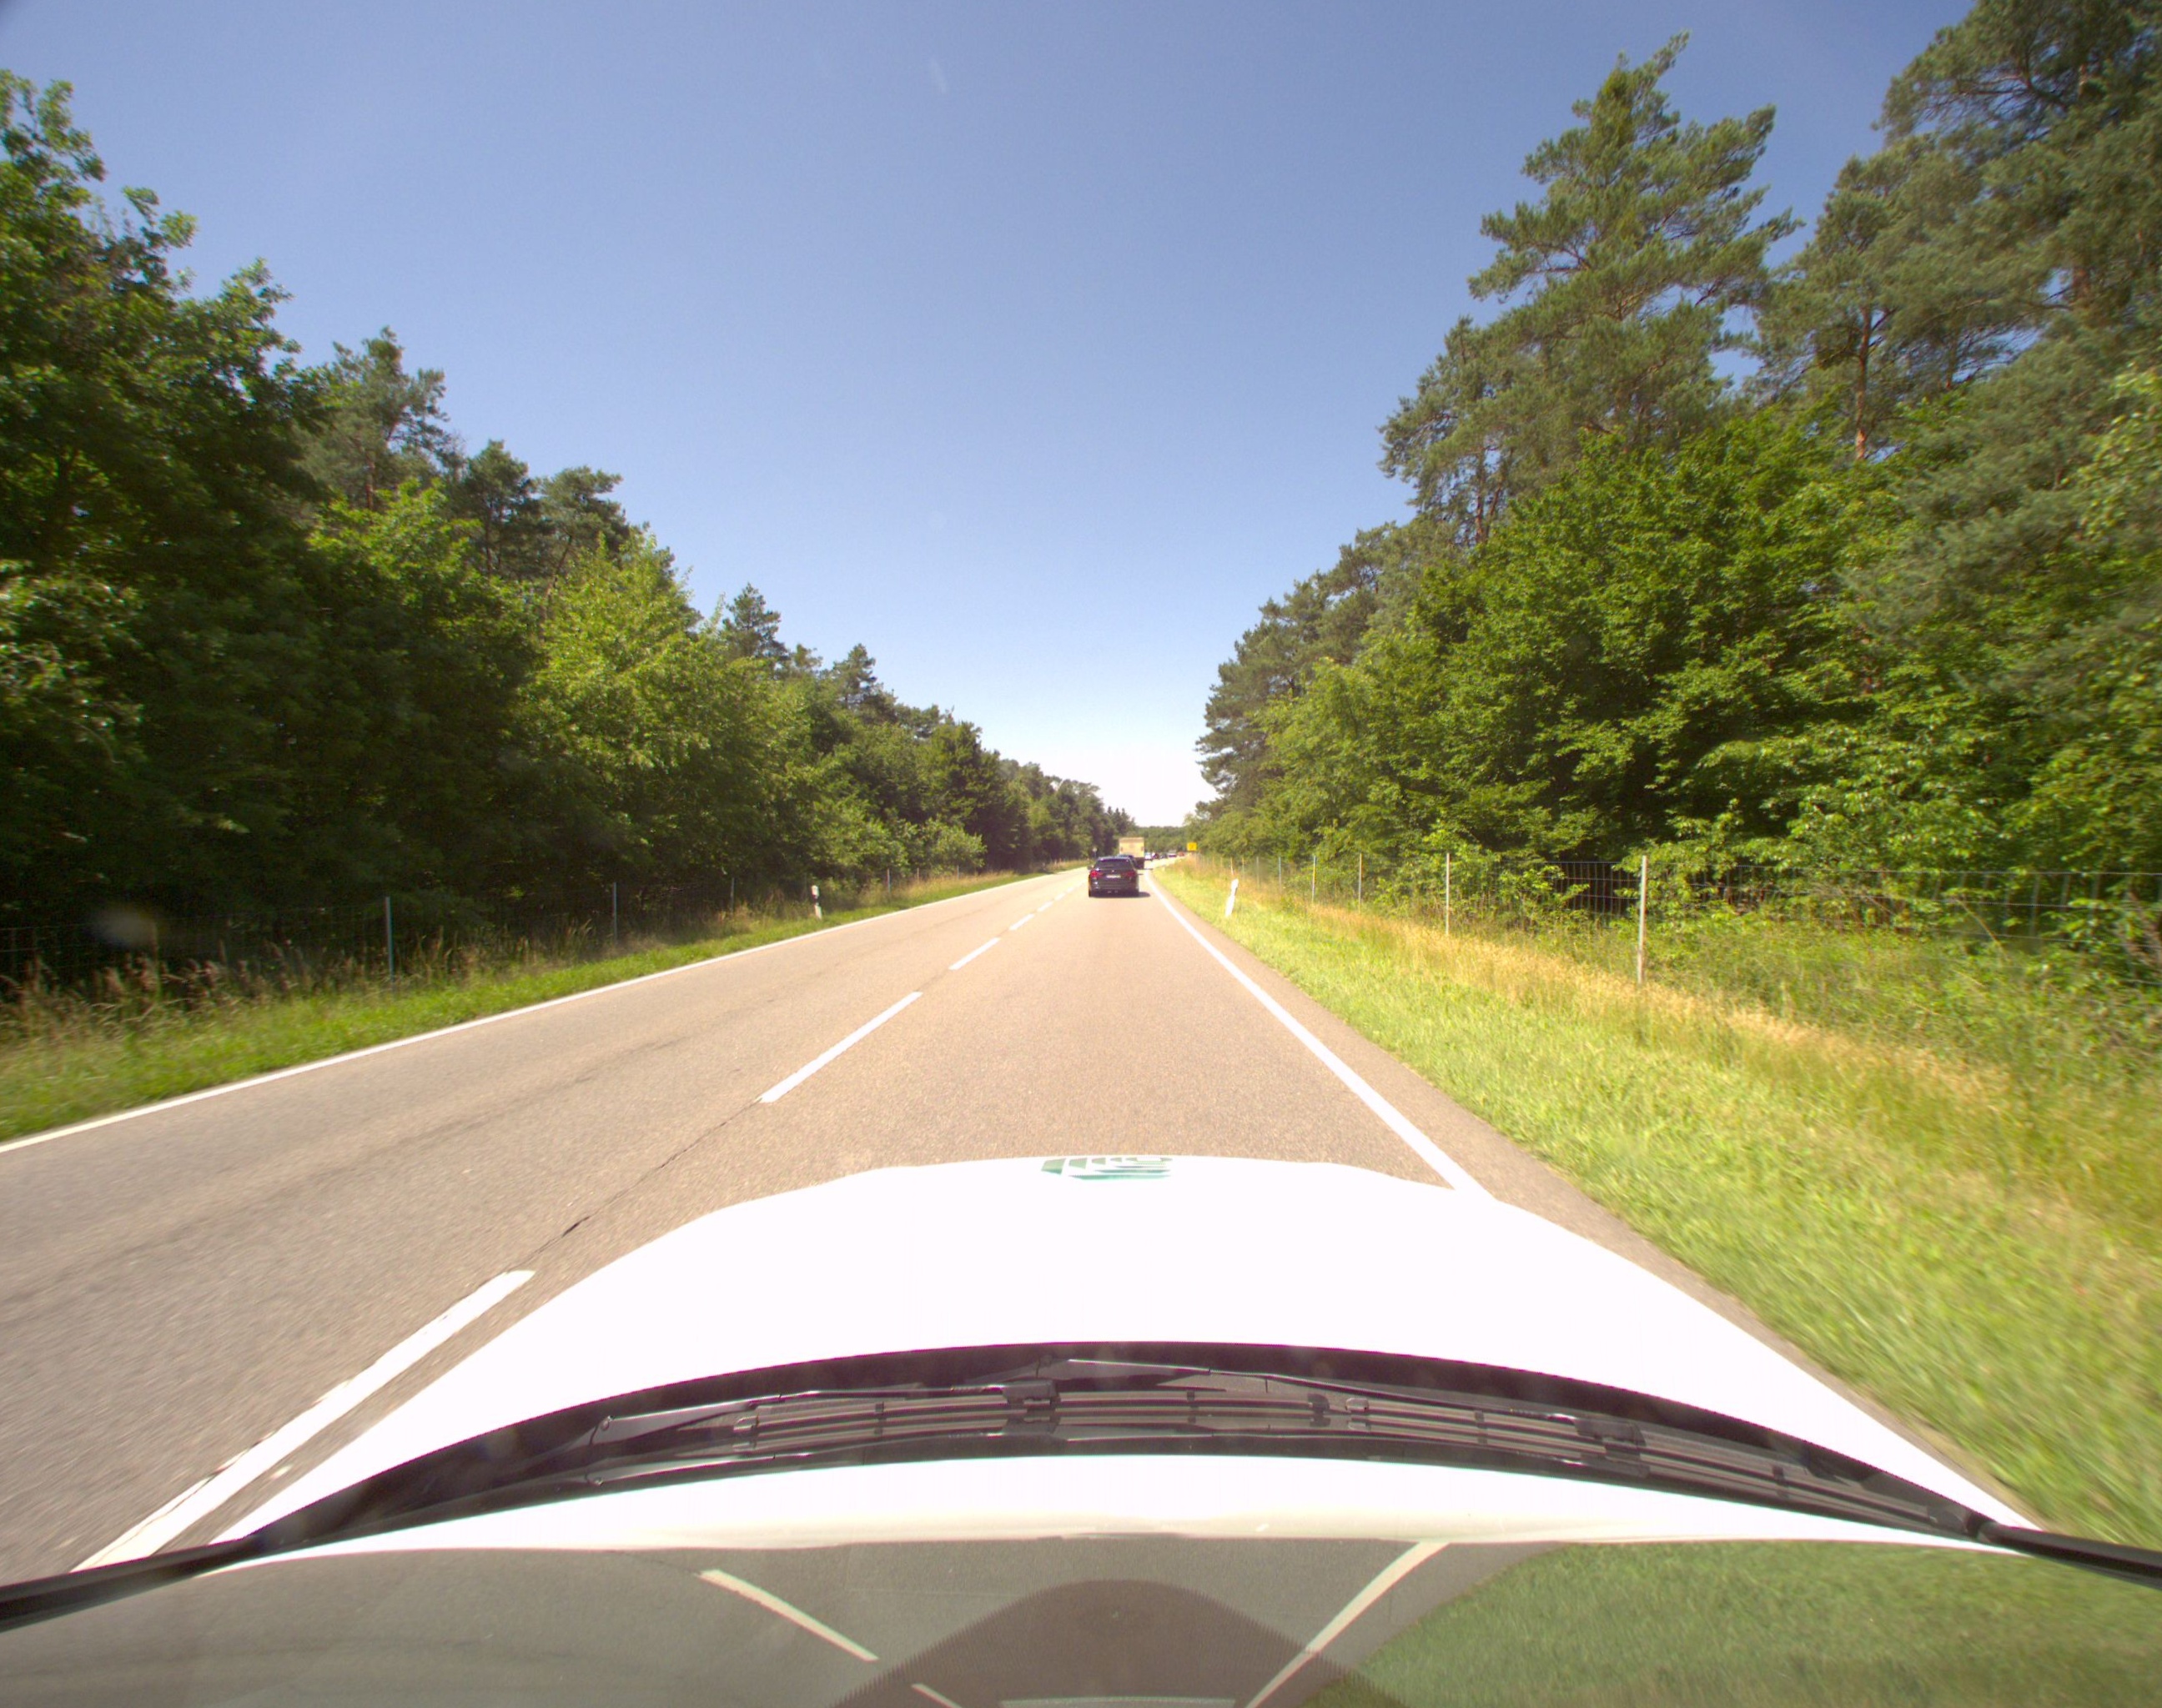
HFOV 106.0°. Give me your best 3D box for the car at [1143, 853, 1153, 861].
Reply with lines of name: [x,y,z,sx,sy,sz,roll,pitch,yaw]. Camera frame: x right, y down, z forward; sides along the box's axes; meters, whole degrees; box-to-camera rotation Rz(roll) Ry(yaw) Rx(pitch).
car: [13.287,0.637,161.830,1.855,1.605,4.003,-1,0,3]

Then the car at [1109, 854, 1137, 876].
car: [3.201,0.797,62.553,1.940,1.542,4.001,-3,0,2]

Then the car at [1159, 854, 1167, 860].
car: [21.761,0.762,217.201,1.984,1.636,4.006,-3,0,5]

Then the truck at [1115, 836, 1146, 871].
truck: [5.213,-0.095,84.892,2.952,3.387,6.446,-2,0,4]

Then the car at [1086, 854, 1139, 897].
car: [1.168,0.750,30.651,1.814,1.470,4.001,-2,0,1]

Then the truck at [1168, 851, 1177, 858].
truck: [27.484,0.208,245.093,2.553,2.202,4.978,-1,0,3]

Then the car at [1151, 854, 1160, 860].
car: [17.702,0.736,194.022,1.983,1.420,4.008,-1,0,7]
